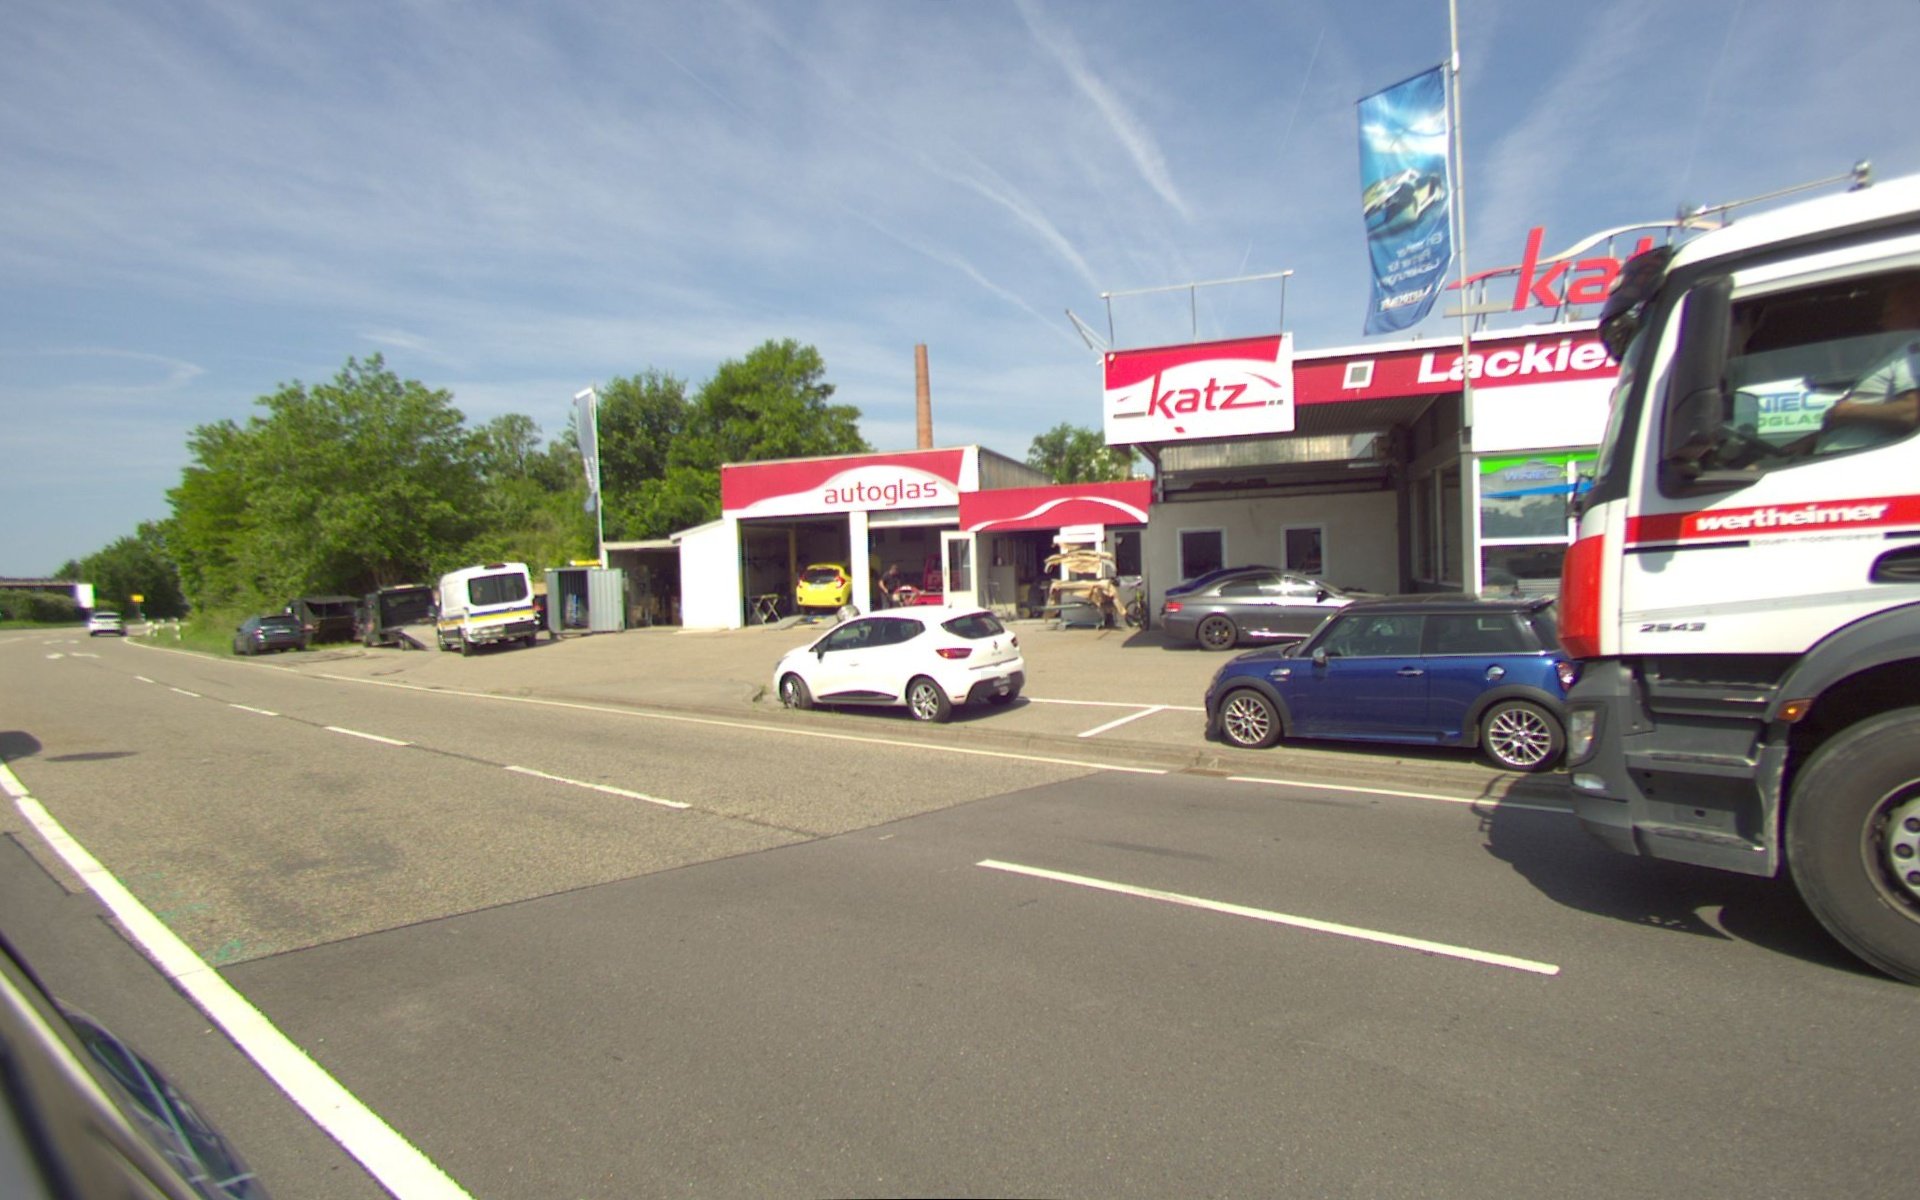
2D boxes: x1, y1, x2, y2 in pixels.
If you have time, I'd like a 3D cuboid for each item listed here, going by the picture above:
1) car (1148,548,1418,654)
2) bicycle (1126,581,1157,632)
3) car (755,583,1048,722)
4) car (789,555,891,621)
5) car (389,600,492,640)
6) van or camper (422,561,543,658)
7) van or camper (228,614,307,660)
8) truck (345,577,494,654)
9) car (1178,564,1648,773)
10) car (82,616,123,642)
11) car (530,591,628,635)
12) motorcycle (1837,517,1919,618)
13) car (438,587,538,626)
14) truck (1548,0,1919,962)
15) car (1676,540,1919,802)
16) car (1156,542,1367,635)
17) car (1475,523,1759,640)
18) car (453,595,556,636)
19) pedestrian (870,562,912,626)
[{"bbox_3d":[5.773,0.009,18.413,4.359,1.515,1.849,-4,3,18],"label":"car"},{"bbox_3d":[4.274,0.123,23.754,0.412,0.978,1.988,-1,6,18],"label":"bicycle"},{"bbox_3d":[-0.917,0.650,14.236,3.999,1.630,1.761,-1,2,42],"label":"car"},{"bbox_3d":[-3.672,-0.421,31.617,1.725,1.737,3.651,-2,4,18],"label":"car"},{"bbox_3d":[-22.173,0.827,43.343,1.706,1.522,3.643,-2,1,23],"label":"car"},{"bbox_3d":[-14.749,0.249,31.056,2.126,2.517,5.965,-7,4,-35],"label":"van or camper"},{"bbox_3d":[-26.327,1.343,38.411,1.621,1.535,4.470,-4,2,-45],"label":"van or camper"},{"bbox_3d":[-19.933,0.538,37.021,2.305,2.313,8.810,-9,6,-43],"label":"truck"},{"bbox_3d":[4.275,0.545,9.835,3.780,1.504,1.761,-1,5,42],"label":"car"},{"bbox_3d":[-58.021,1.945,68.463,1.912,1.687,4.004,0,-1,-43],"label":"car"},{"bbox_3d":[-14.939,0.485,39.887,1.725,1.541,3.651,-2,1,17],"label":"car"},{"bbox_3d":[12.727,-0.432,12.998,2.039,1.271,0.767,-1,0,20],"label":"motorcycle"},{"bbox_3d":[-20.105,0.263,43.232,1.728,1.480,3.644,-2,1,23],"label":"car"},{"bbox_3d":[7.561,-0.906,2.048,10.639,4.241,2.926,-2,-1,40],"label":"truck"},{"bbox_3d":[7.066,0.398,8.252,1.844,1.536,3.762,-2,4,38],"label":"car"},{"bbox_3d":[6.235,-0.251,21.187,3.965,1.515,1.851,-4,4,17],"label":"car"},{"bbox_3d":[11.207,-0.342,17.533,3.726,1.771,1.697,-2,4,15],"label":"car"},{"bbox_3d":[-18.678,0.629,41.690,1.728,1.480,3.644,-2,1,23],"label":"car"},{"bbox_3d":[-1.955,-0.173,28.649,0.895,1.775,0.714,0,2,43],"label":"pedestrian"}]
